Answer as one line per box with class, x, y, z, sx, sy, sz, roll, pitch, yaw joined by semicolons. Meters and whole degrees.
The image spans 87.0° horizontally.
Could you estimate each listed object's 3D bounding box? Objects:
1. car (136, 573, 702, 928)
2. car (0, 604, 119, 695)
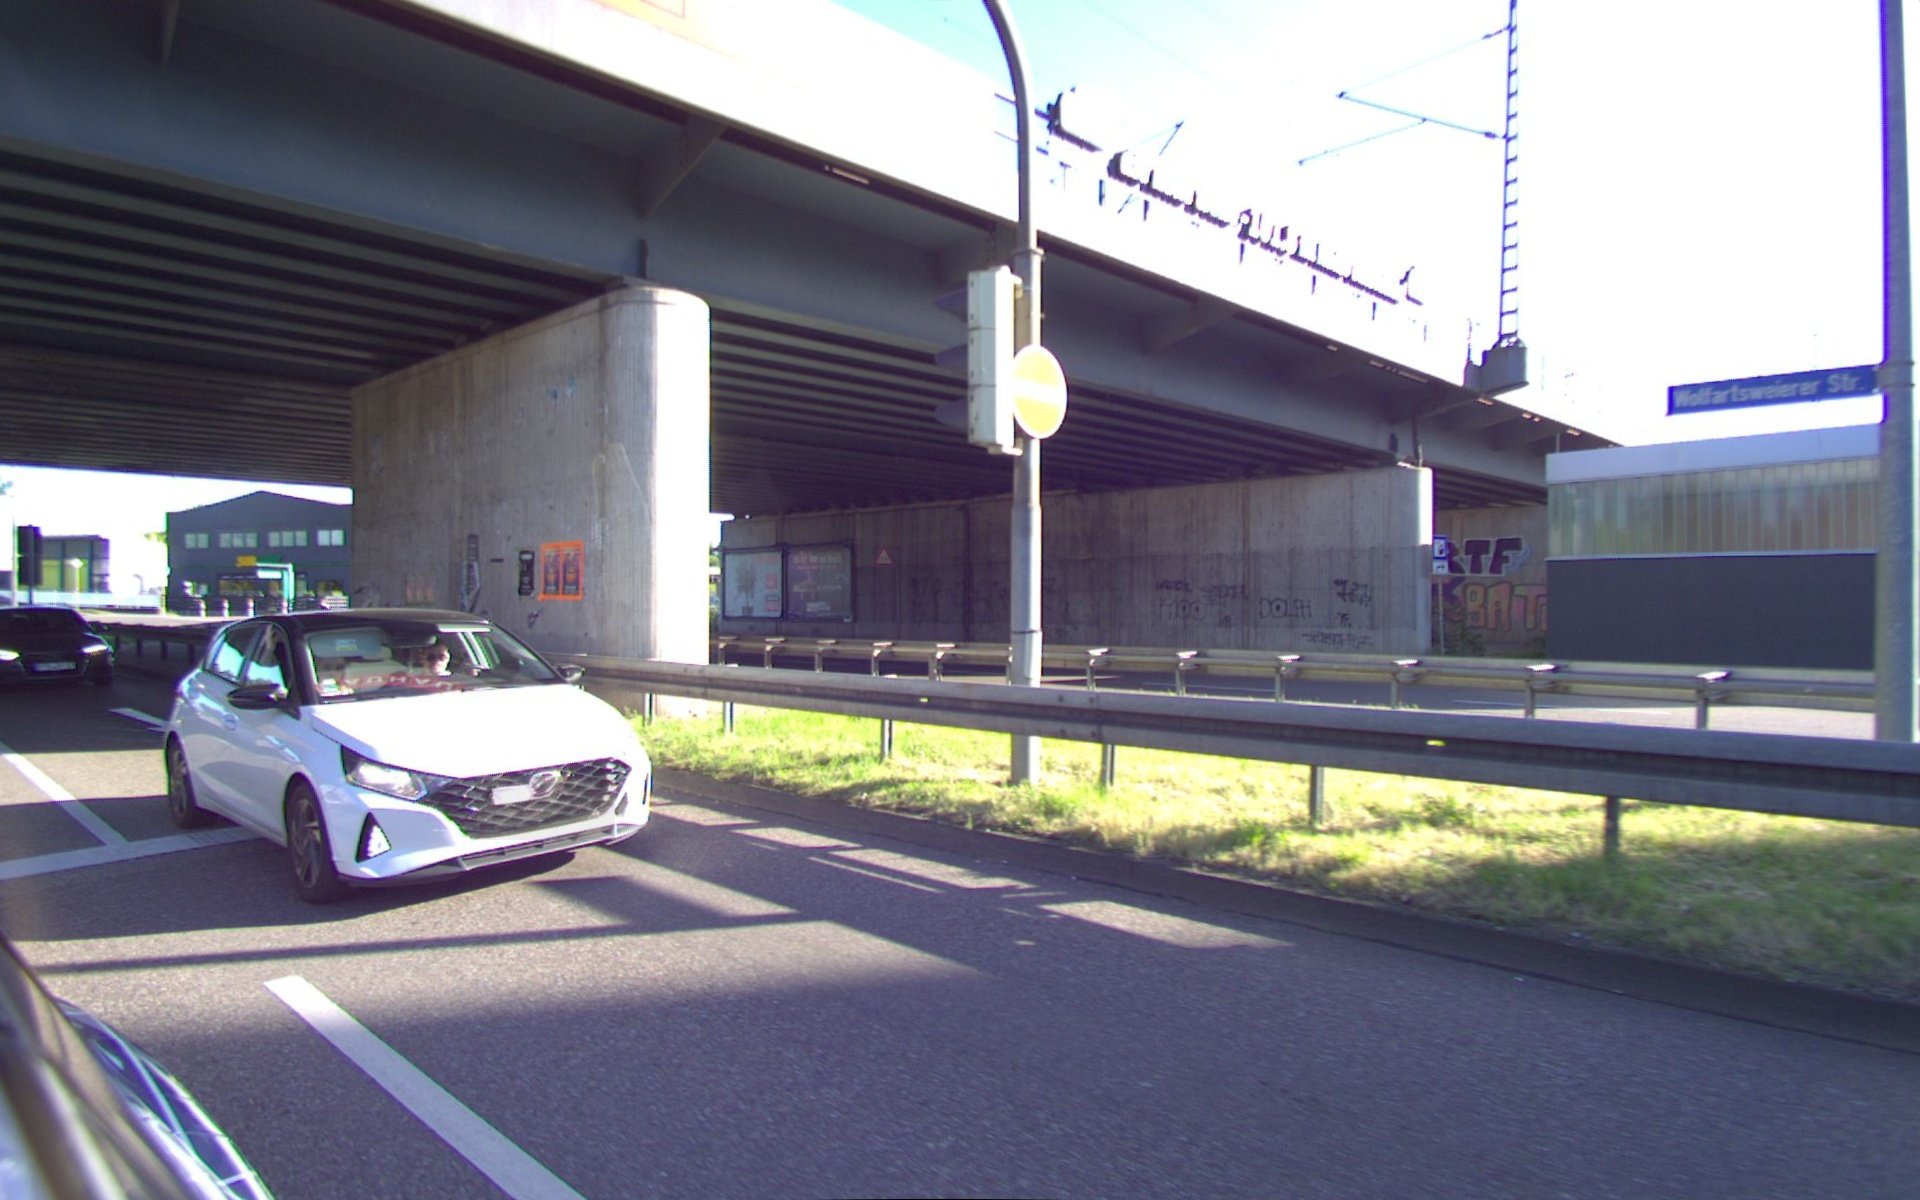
car;-3.512;0.702;6.227;3.988;1.491;1.715;-3;-1;41
car;-16.367;0.834;17.758;3.979;1.431;1.825;-2;-1;40
